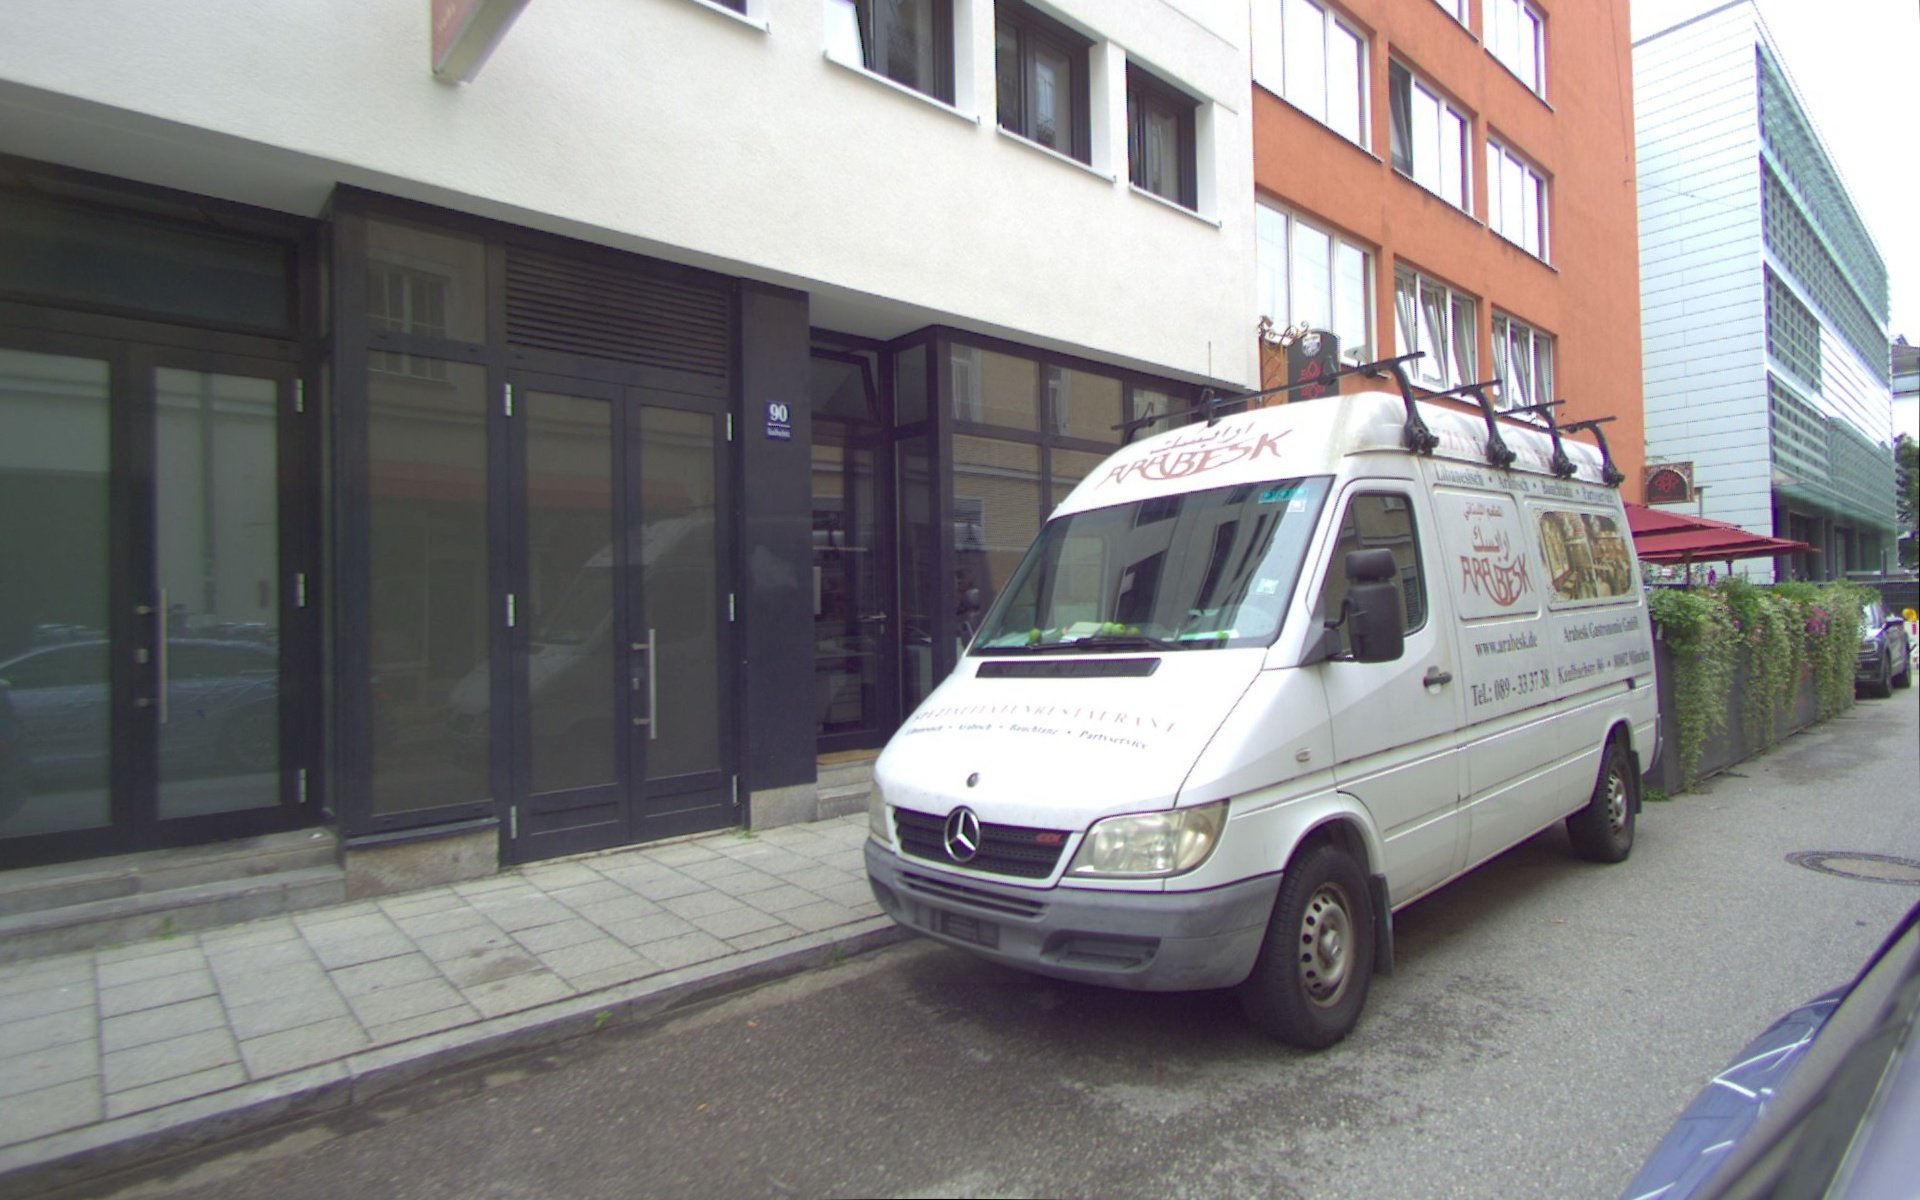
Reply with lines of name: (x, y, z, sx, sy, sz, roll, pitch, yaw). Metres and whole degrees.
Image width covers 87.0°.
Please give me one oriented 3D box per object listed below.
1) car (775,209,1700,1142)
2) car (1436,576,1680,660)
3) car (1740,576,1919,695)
car: (2.065, 0.214, 5.477, 5.895, 2.538, 1.922, 0, -3, -43)
car: (13.566, 0.387, 23.182, 1.809, 1.742, 4.468, 0, -1, -41)
car: (14.708, 0.538, 16.842, 4.312, 1.732, 1.827, -1, -2, -41)
